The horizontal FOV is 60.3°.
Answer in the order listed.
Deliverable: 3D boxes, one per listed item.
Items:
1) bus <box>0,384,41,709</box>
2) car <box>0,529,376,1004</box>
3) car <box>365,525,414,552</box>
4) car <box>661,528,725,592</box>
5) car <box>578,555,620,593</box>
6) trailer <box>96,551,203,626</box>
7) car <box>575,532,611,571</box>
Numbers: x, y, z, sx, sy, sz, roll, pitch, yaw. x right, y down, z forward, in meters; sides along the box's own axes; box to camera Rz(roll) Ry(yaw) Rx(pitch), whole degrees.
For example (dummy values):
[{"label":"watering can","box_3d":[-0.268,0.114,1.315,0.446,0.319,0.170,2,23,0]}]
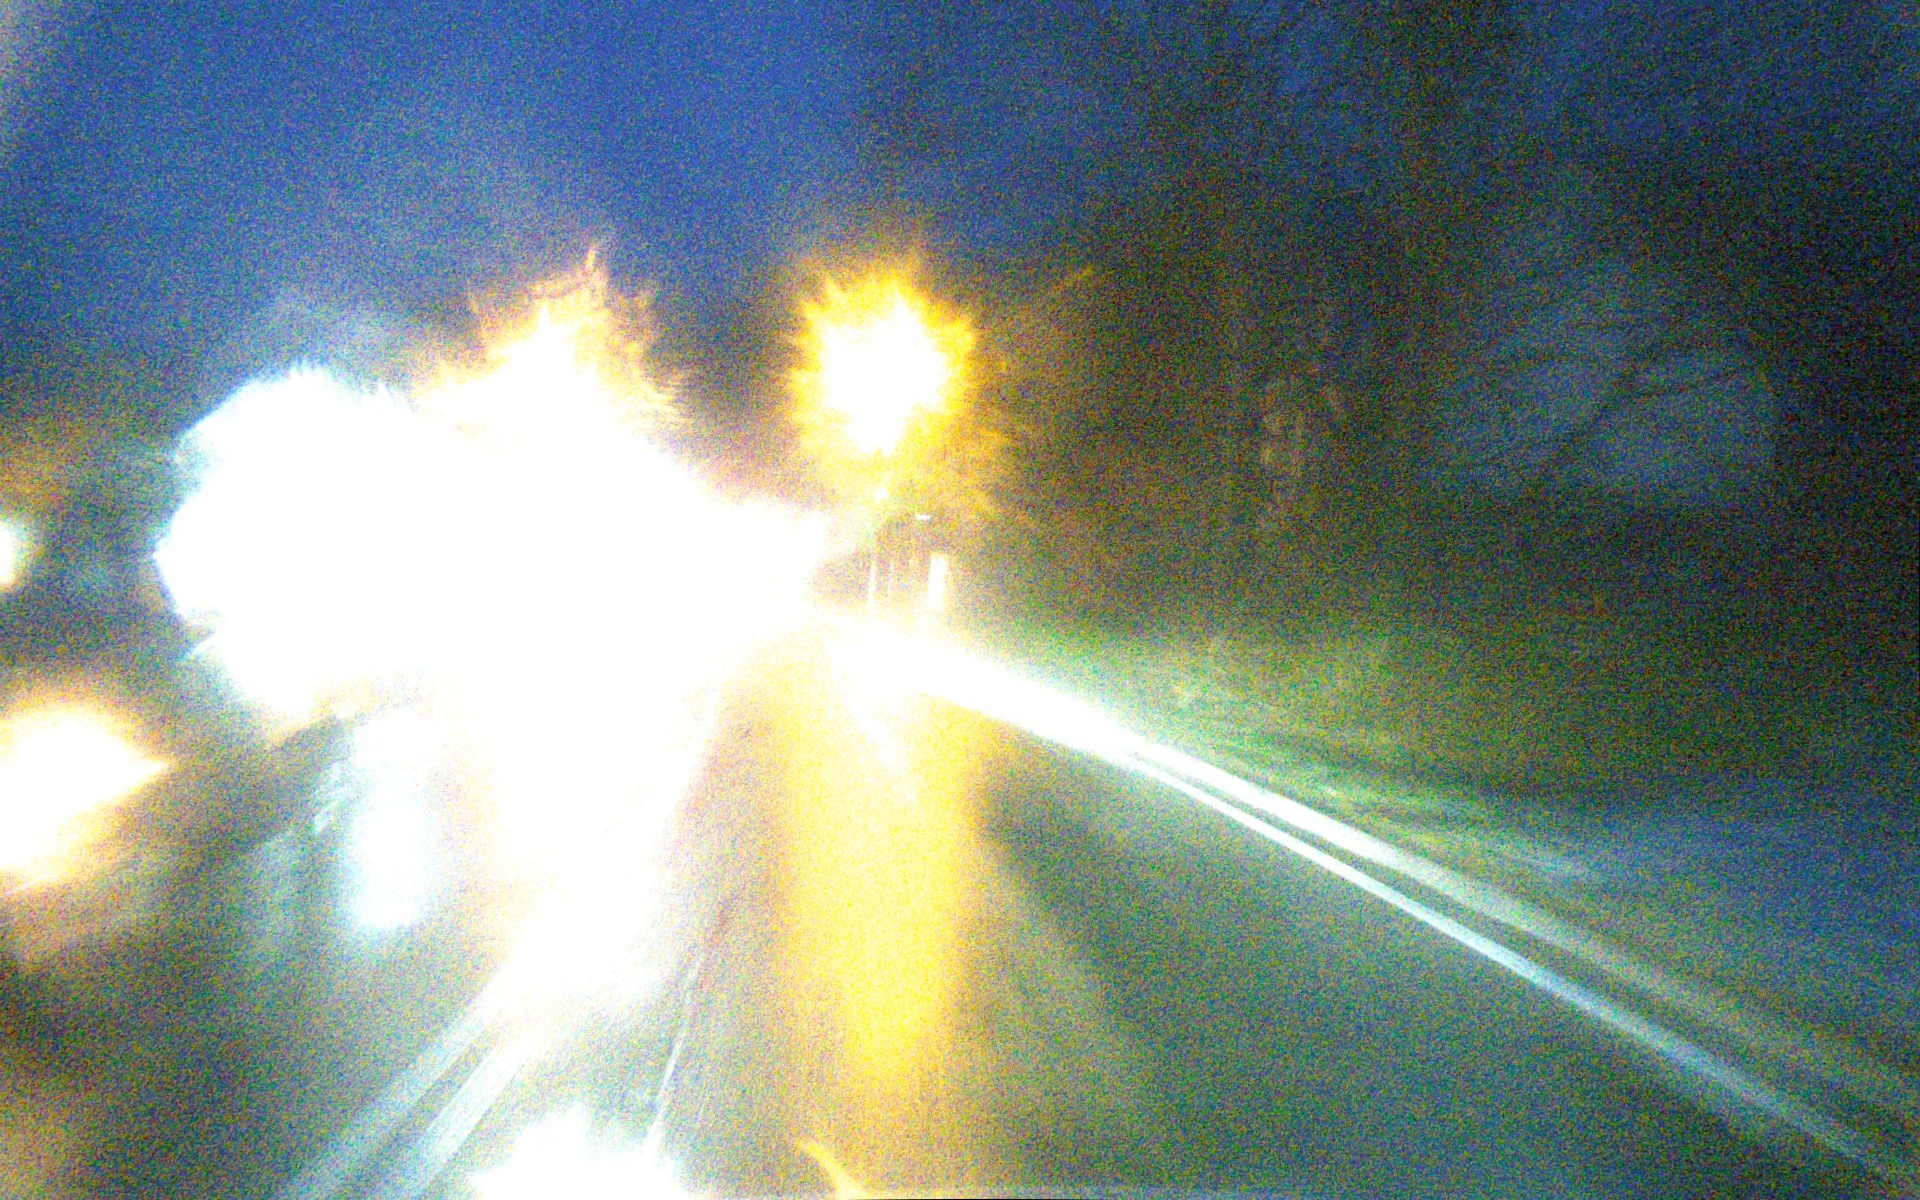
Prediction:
[{"label":"bus","box_3d":[-15.001,-0.707,23.509,2.859,3.936,12.944,1,1,-27]},{"label":"car","box_3d":[-4.074,0.539,7.513,1.662,1.627,3.798,1,1,-3]},{"label":"car","box_3d":[-46.405,-4.969,134.440,1.984,2.049,4.770,2,0,-43]},{"label":"car","box_3d":[-11.402,-1.741,70.398,2.493,2.541,5.701,0,3,-11]},{"label":"car","box_3d":[-15.004,-1.079,68.815,1.607,1.537,4.105,-1,1,-12]},{"label":"trailer","box_3d":[-20.239,-0.334,41.449,1.785,1.706,4.080,-2,3,-18]},{"label":"car","box_3d":[-21.525,-2.802,97.079,1.959,2.049,3.987,2,-1,-13]}]
